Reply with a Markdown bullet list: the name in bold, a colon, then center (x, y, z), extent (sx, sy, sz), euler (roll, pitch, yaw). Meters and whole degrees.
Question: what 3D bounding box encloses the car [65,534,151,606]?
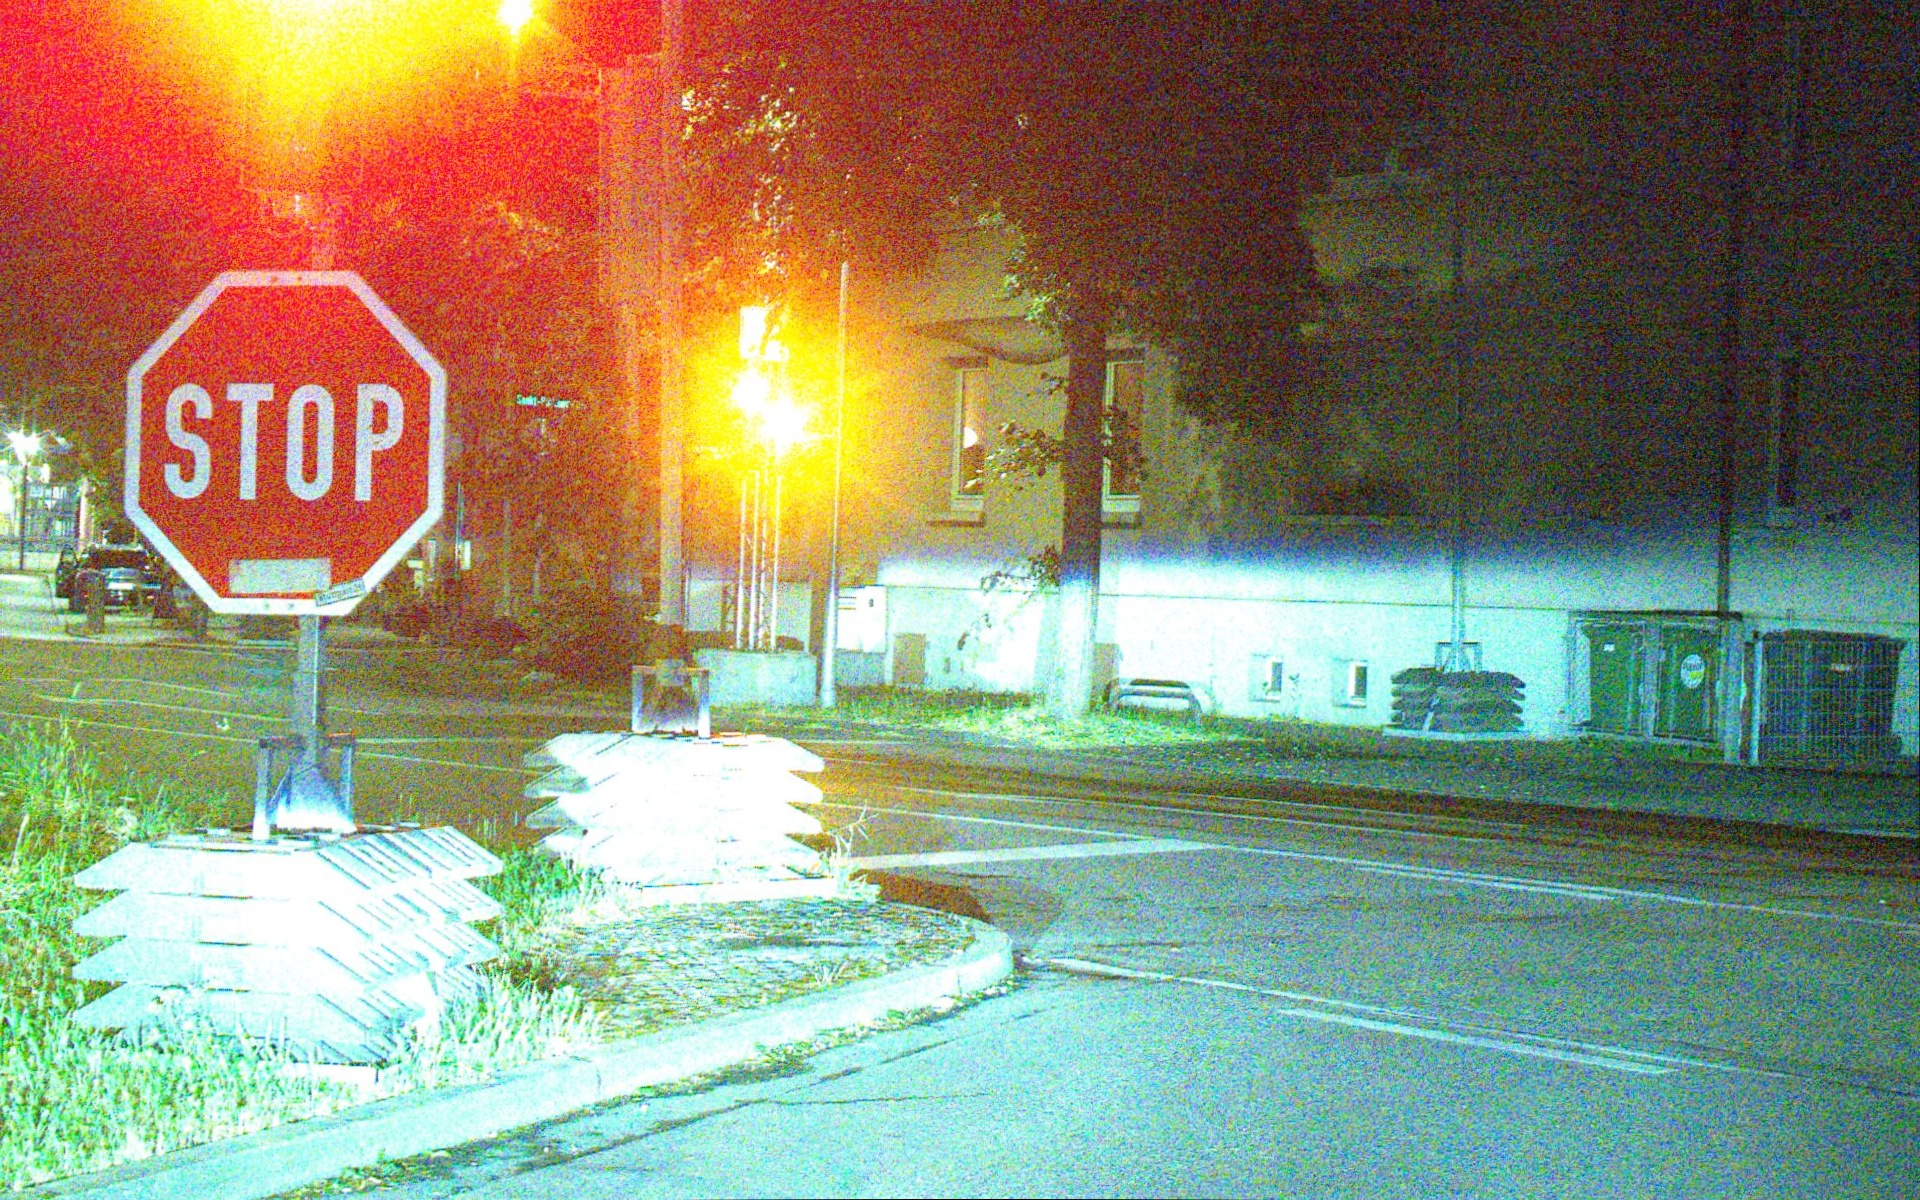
- **car**: center (-17.846, -0.655, 72.065), extent (1.651, 1.426, 4.001), euler (2, 1, -14)
